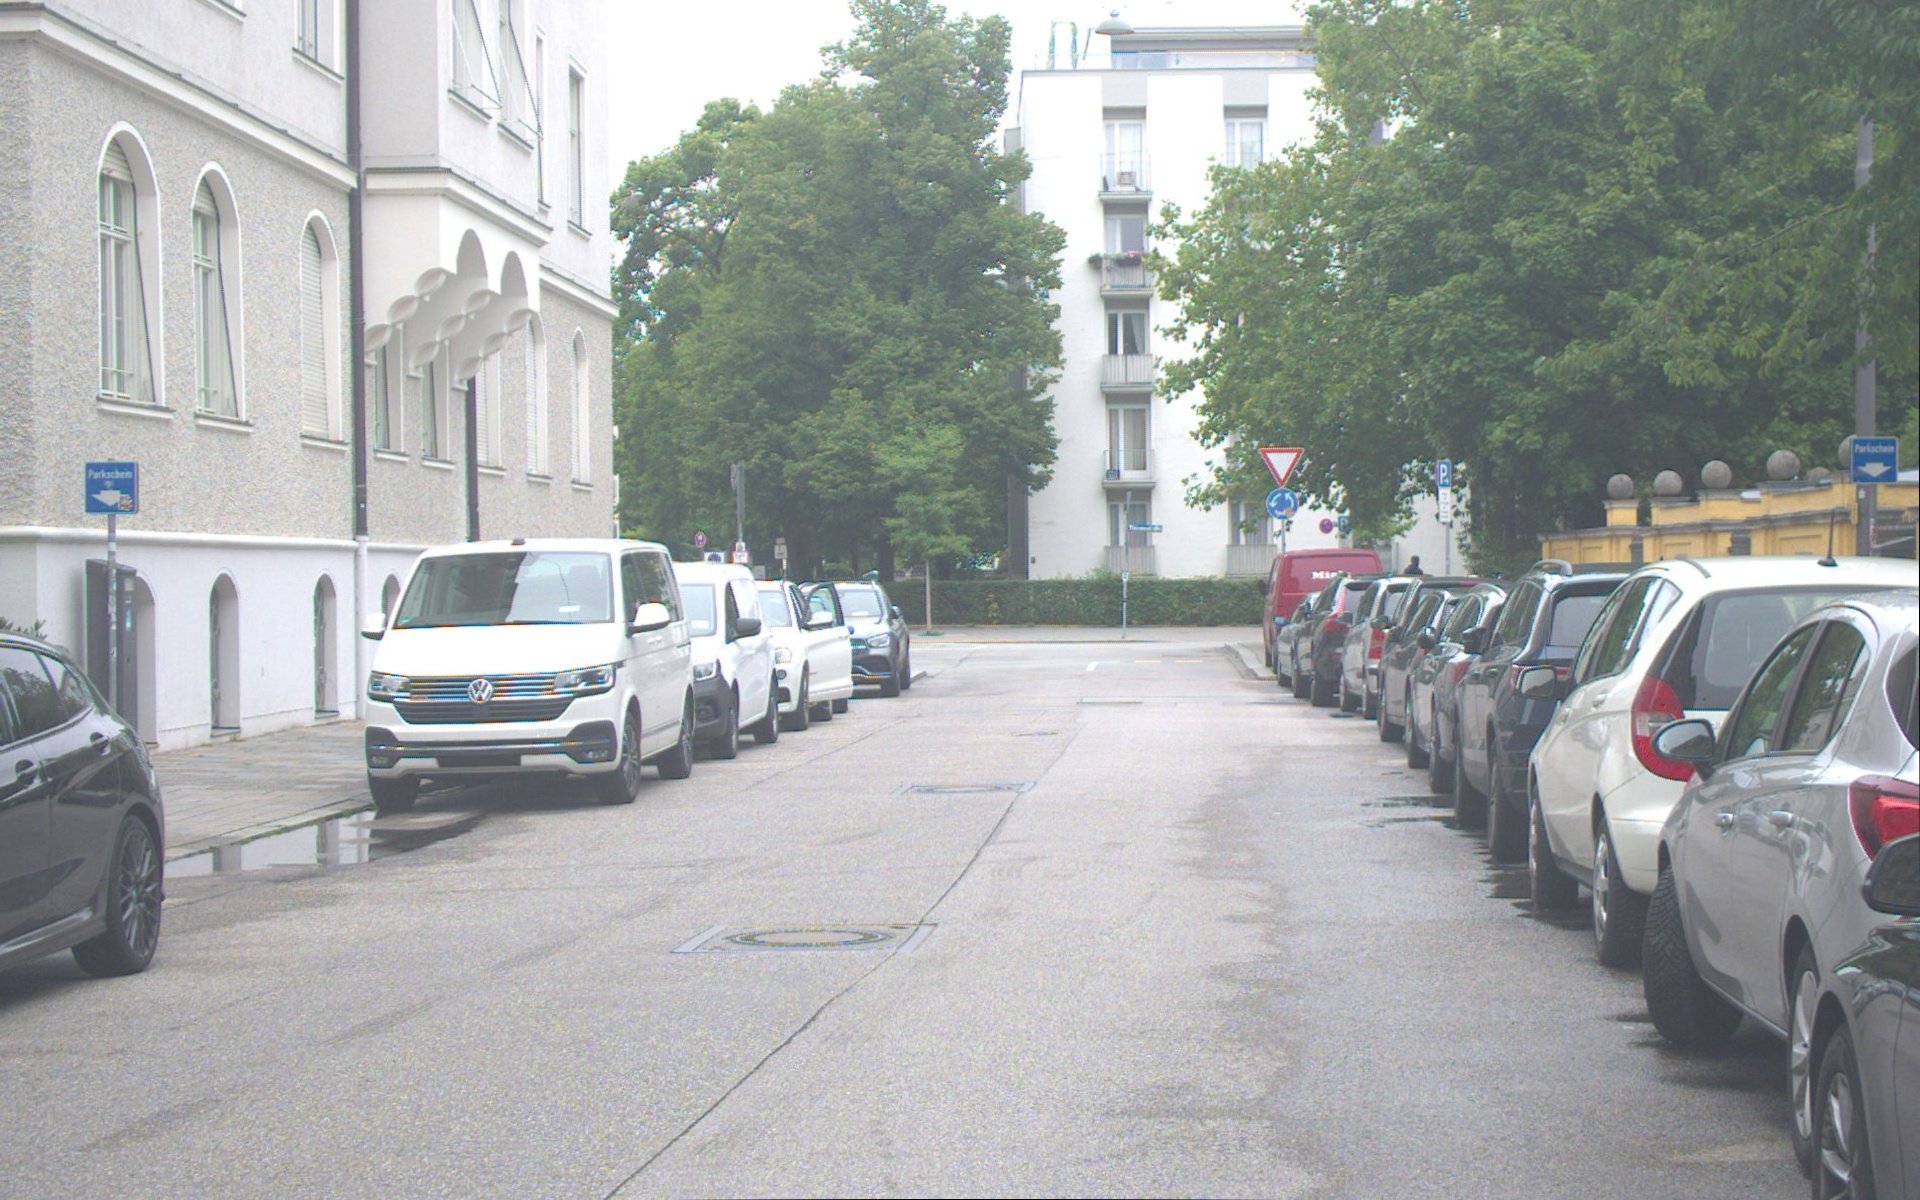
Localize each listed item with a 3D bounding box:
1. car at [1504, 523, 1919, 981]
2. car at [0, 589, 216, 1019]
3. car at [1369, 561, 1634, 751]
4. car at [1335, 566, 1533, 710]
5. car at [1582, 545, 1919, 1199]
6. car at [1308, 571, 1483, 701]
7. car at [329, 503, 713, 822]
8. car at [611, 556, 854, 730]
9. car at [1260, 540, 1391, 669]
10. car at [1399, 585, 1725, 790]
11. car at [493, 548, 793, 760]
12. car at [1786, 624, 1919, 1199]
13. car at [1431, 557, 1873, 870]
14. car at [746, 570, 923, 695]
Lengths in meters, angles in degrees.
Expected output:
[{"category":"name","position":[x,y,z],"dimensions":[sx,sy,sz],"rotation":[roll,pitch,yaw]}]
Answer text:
[{"category":"car","position":[3.229,0.558,14.451],"dimensions":[1.514,1.656,3.673],"rotation":[1,0,4]},{"category":"car","position":[-4.298,0.771,12.572],"dimensions":[1.836,1.494,4.274],"rotation":[-3,0,5]},{"category":"car","position":[4.659,0.459,30.059],"dimensions":[1.838,1.513,3.947],"rotation":[1,0,3]},{"category":"car","position":[5.306,0.406,38.892],"dimensions":[1.838,1.513,3.947],"rotation":[1,0,3]},{"category":"car","position":[2.861,0.647,9.734],"dimensions":[1.652,1.513,3.794],"rotation":[1,0,3]},{"category":"car","position":[5.408,0.431,43.090],"dimensions":[1.838,1.513,3.947],"rotation":[1,0,3]},{"category":"car","position":[-3.207,0.408,26.124],"dimensions":[1.886,2.120,4.706],"rotation":[-3,0,4]},{"category":"car","position":[-2.452,0.426,38.141],"dimensions":[2.015,1.720,4.274],"rotation":[-3,0,4]},{"category":"car","position":[5.891,0.041,55.072],"dimensions":[1.837,1.920,4.003],"rotation":[3,1,8]},{"category":"car","position":[4.311,0.589,25.153],"dimensions":[1.838,1.341,3.947],"rotation":[1,0,3]},{"category":"car","position":[-2.888,0.447,32.351],"dimensions":[2.015,1.765,4.413],"rotation":[-3,0,4]},{"category":"car","position":[2.361,0.770,4.723],"dimensions":[1.839,1.408,4.341],"rotation":[1,0,6]},{"category":"car","position":[3.775,0.571,19.385],"dimensions":[1.838,1.546,3.947],"rotation":[1,0,3]},{"category":"car","position":[-1.766,0.431,49.860],"dimensions":[2.015,1.628,4.413],"rotation":[-3,0,4]}]
